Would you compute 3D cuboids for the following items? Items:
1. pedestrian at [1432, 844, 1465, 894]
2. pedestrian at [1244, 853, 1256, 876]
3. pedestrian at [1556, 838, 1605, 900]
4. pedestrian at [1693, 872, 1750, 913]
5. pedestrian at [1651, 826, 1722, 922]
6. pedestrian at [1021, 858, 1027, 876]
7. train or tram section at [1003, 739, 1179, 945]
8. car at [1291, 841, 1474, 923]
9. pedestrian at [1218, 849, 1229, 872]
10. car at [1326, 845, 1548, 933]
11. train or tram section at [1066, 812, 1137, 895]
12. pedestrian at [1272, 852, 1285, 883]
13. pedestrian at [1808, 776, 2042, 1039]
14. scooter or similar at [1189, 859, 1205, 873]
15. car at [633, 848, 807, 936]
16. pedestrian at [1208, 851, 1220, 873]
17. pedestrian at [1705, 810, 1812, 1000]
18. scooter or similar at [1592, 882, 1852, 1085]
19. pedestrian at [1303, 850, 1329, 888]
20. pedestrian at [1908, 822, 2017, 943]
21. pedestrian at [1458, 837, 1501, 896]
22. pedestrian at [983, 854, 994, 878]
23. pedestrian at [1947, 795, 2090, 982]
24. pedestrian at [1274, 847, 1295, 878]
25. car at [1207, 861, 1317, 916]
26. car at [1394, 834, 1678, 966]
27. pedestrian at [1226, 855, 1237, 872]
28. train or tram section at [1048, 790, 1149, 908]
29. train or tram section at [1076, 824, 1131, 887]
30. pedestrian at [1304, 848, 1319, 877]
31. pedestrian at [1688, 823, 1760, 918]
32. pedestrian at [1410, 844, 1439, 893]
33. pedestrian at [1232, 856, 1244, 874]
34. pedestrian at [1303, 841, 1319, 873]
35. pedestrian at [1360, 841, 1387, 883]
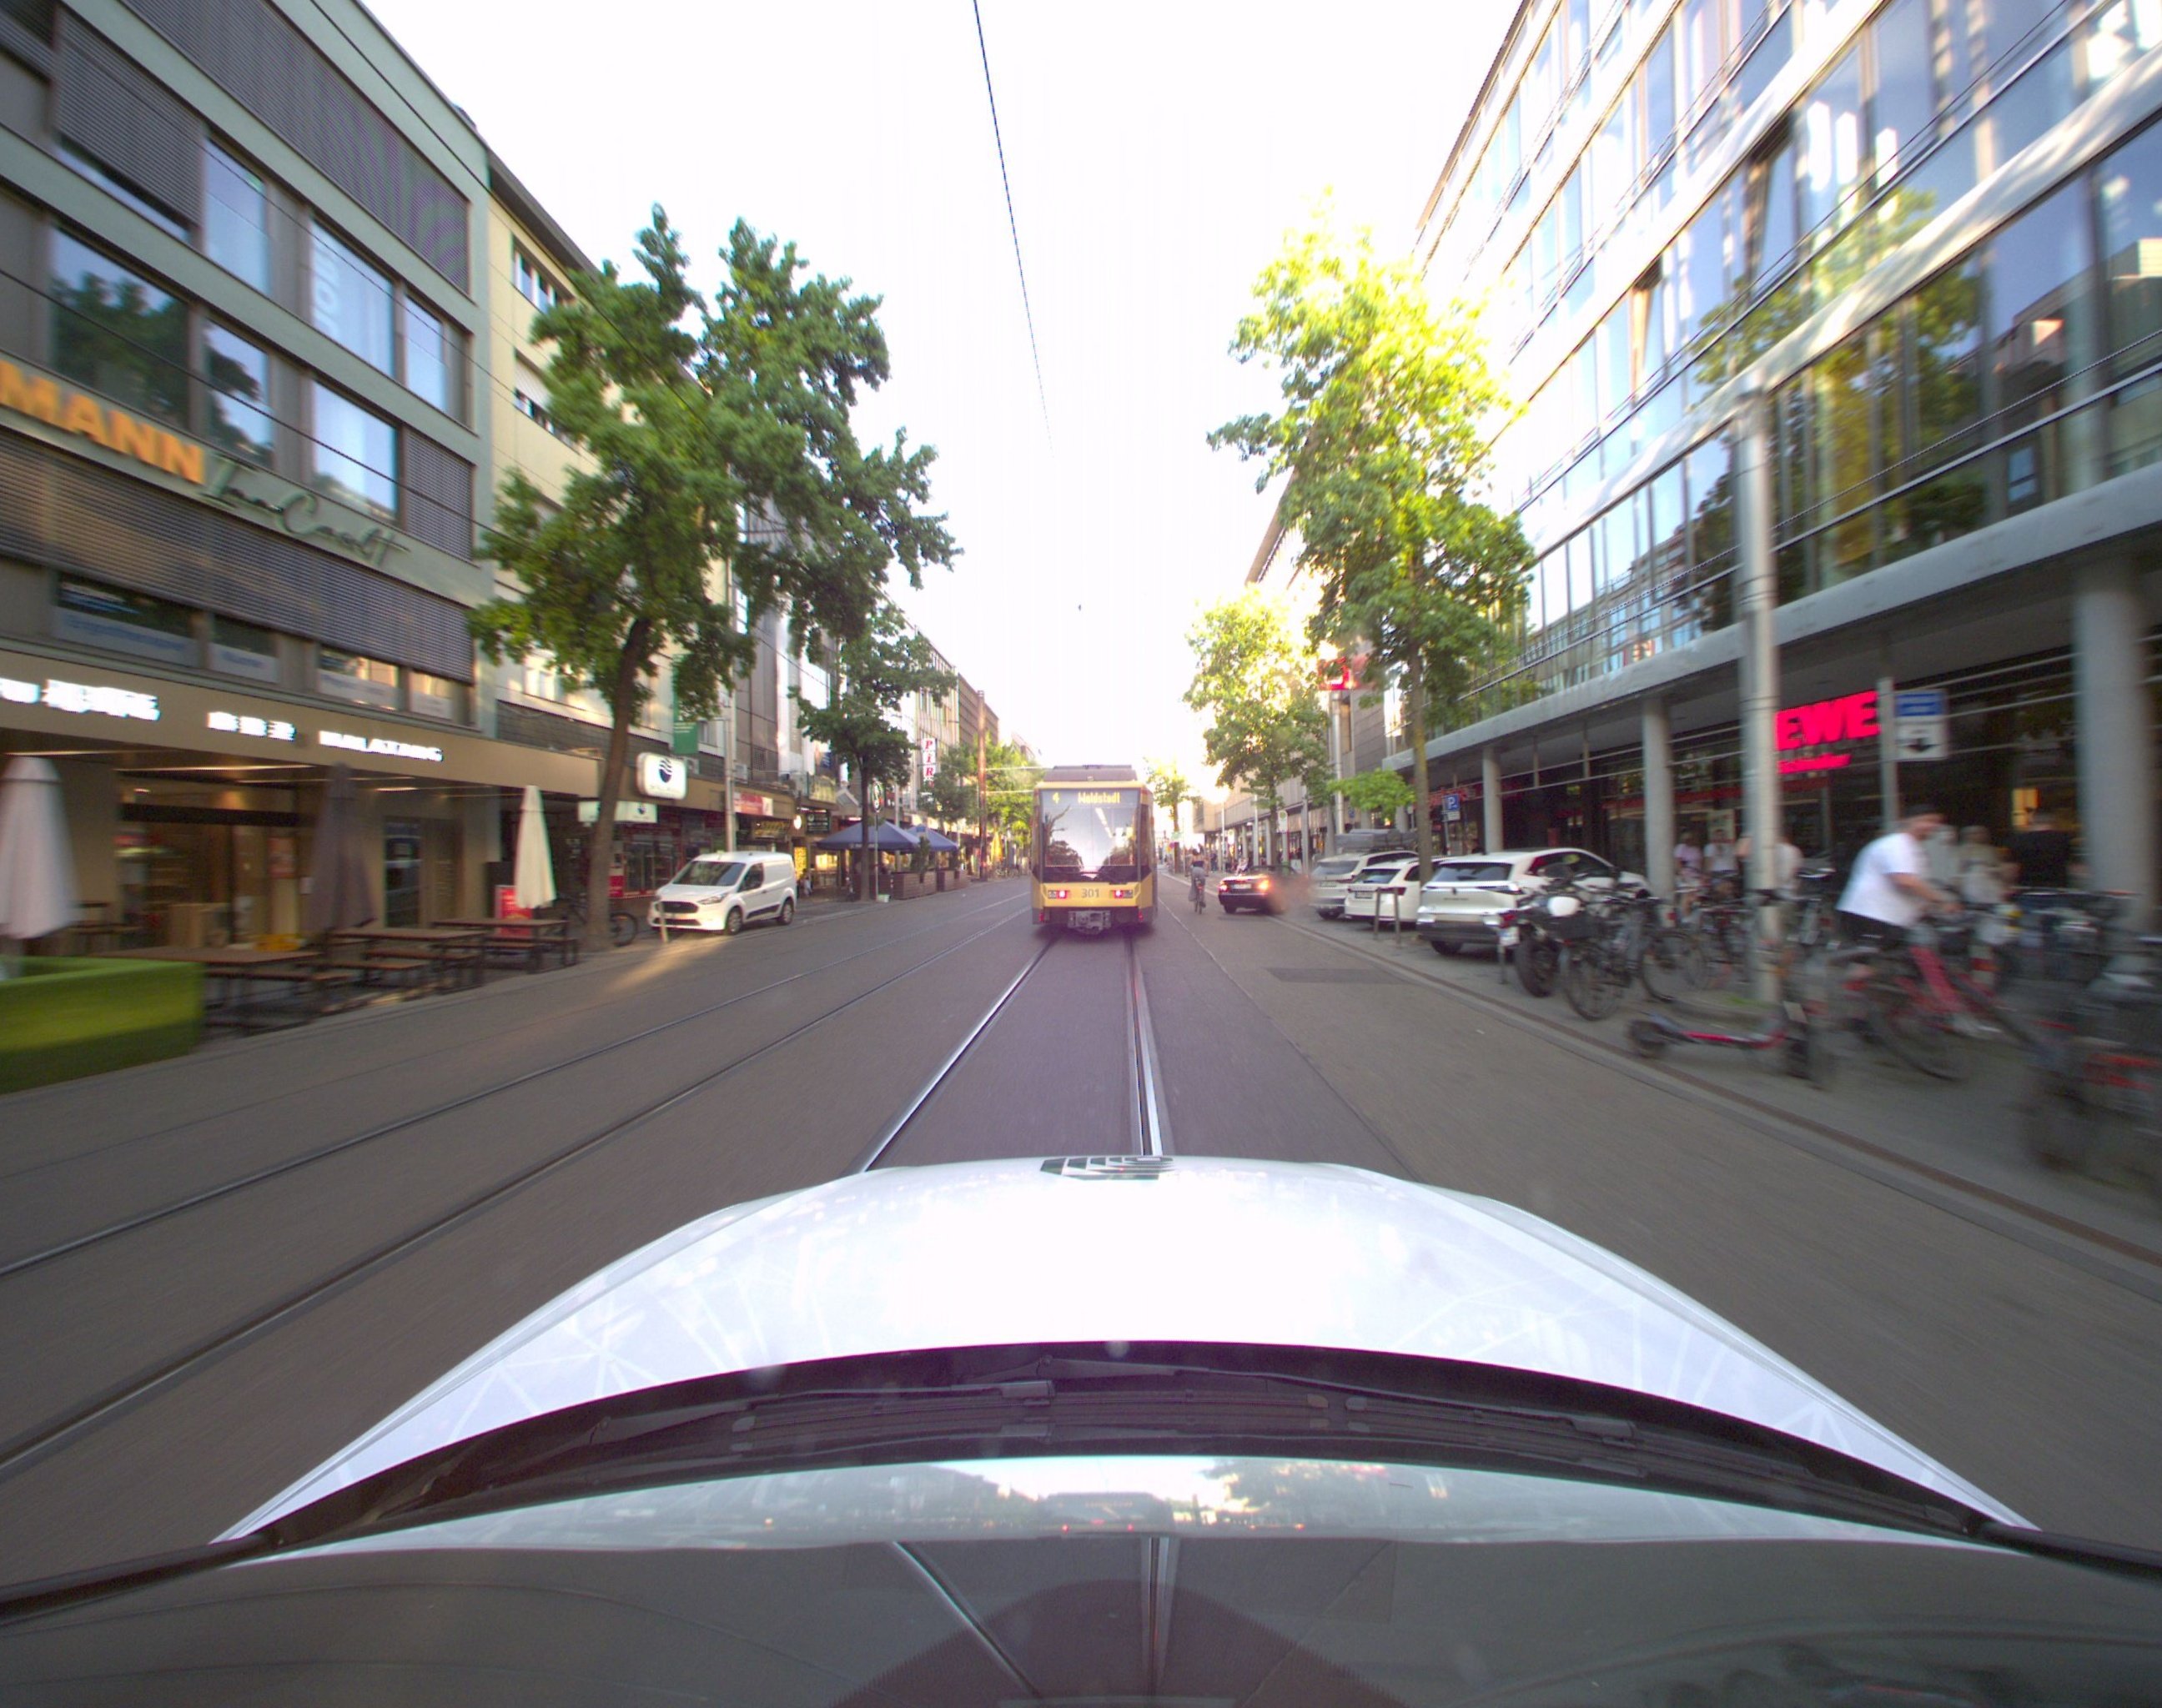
[{"bbox_3d":[12.390,0.479,27.461,0.594,1.616,1.022,-3,0,2],"label":"pedestrian"},{"bbox_3d":[12.120,0.741,58.362,0.698,1.637,0.646,-3,0,2],"label":"pedestrian"},{"bbox_3d":[12.822,0.384,20.927,0.657,1.527,0.974,-2,-1,5],"label":"pedestrian"},{"bbox_3d":[12.773,0.762,16.262,0.604,0.782,0.665,-2,-1,5],"label":"pedestrian"},{"bbox_3d":[11.073,0.365,14.926,0.677,1.699,0.806,-1,-1,2],"label":"pedestrian"},{"bbox_3d":[-5.403,1.234,77.286,0.573,1.687,0.551,1,-2,-8],"label":"pedestrian"},{"bbox_3d":[0.347,-0.146,19.391,3.005,3.524,10.374,-1,-1,2],"label":"train or tram section"},{"bbox_3d":[7.464,0.641,20.092,4.220,1.637,1.902,-4,0,-30],"label":"car"},{"bbox_3d":[11.416,0.527,65.157,0.745,1.782,0.892,-1,-1,6],"label":"pedestrian"},{"bbox_3d":[7.596,0.696,17.407,4.187,1.457,1.851,-4,-1,-21],"label":"car"},{"bbox_3d":[1.068,0.013,40.407,2.992,3.524,10.849,-1,-1,2],"label":"train or tram section"},{"bbox_3d":[12.249,0.815,50.503,0.594,1.839,0.830,-3,0,3],"label":"pedestrian"},{"bbox_3d":[6.782,0.390,6.590,0.949,1.913,0.860,-4,1,-9],"label":"pedestrian"},{"bbox_3d":[11.117,1.145,77.748,1.380,1.210,0.513,-2,-1,-12],"label":"scooter or similar"},{"bbox_3d":[-8.287,0.839,19.237,1.786,1.818,4.521,0,-1,4],"label":"car"},{"bbox_3d":[11.161,0.675,68.372,0.885,1.782,0.751,-1,-1,1],"label":"pedestrian"},{"bbox_3d":[6.966,0.492,8.374,0.822,1.812,0.594,-5,1,-36],"label":"pedestrian"},{"bbox_3d":[4.820,0.892,6.196,0.700,1.304,1.378,-2,0,-36],"label":"scooter or similar"},{"bbox_3d":[9.871,0.631,34.216,0.874,1.581,0.756,0,0,2],"label":"pedestrian"},{"bbox_3d":[11.622,0.369,10.757,0.677,1.548,0.665,-1,-1,2],"label":"pedestrian"},{"bbox_3d":[12.367,0.376,25.293,0.874,1.782,0.756,-3,0,2],"label":"pedestrian"},{"bbox_3d":[-7.903,1.046,69.637,0.845,2.014,0.922,-1,-1,2],"label":"pedestrian"},{"bbox_3d":[9.640,0.343,8.412,0.782,1.812,0.664,-3,-1,38],"label":"pedestrian"},{"bbox_3d":[12.642,0.512,50.656,1.049,1.876,0.930,-3,0,2],"label":"pedestrian"},{"bbox_3d":[5.385,0.937,23.816,1.784,1.348,4.474,-2,0,31],"label":"car"},{"bbox_3d":[7.176,0.623,12.742,4.358,1.563,1.859,-4,-1,-30],"label":"car"},{"bbox_3d":[12.081,0.788,65.373,0.736,1.328,0.721,-3,0,3],"label":"pedestrian"},{"bbox_3d":[0.709,-0.106,29.780,2.996,3.524,10.406,-1,-1,2],"label":"train or tram section"},{"bbox_3d":[1.445,0.148,51.093,3.033,3.524,10.535,0,-1,2],"label":"train or tram section"},{"bbox_3d":[13.428,0.474,47.551,0.594,1.616,0.830,-3,0,3],"label":"pedestrian"},{"bbox_3d":[11.805,0.299,14.975,0.659,1.699,0.806,-1,-1,2],"label":"pedestrian"},{"bbox_3d":[11.662,0.472,27.652,0.594,1.616,0.756,-3,0,2],"label":"pedestrian"},{"bbox_3d":[12.250,0.861,63.558,0.802,1.328,0.626,-3,0,3],"label":"pedestrian"},{"bbox_3d":[11.919,0.174,42.219,0.594,1.616,0.756,-3,0,3],"label":"pedestrian"},{"bbox_3d":[13.250,0.338,36.927,0.829,1.836,0.944,-2,0,3],"label":"pedestrian"}]
